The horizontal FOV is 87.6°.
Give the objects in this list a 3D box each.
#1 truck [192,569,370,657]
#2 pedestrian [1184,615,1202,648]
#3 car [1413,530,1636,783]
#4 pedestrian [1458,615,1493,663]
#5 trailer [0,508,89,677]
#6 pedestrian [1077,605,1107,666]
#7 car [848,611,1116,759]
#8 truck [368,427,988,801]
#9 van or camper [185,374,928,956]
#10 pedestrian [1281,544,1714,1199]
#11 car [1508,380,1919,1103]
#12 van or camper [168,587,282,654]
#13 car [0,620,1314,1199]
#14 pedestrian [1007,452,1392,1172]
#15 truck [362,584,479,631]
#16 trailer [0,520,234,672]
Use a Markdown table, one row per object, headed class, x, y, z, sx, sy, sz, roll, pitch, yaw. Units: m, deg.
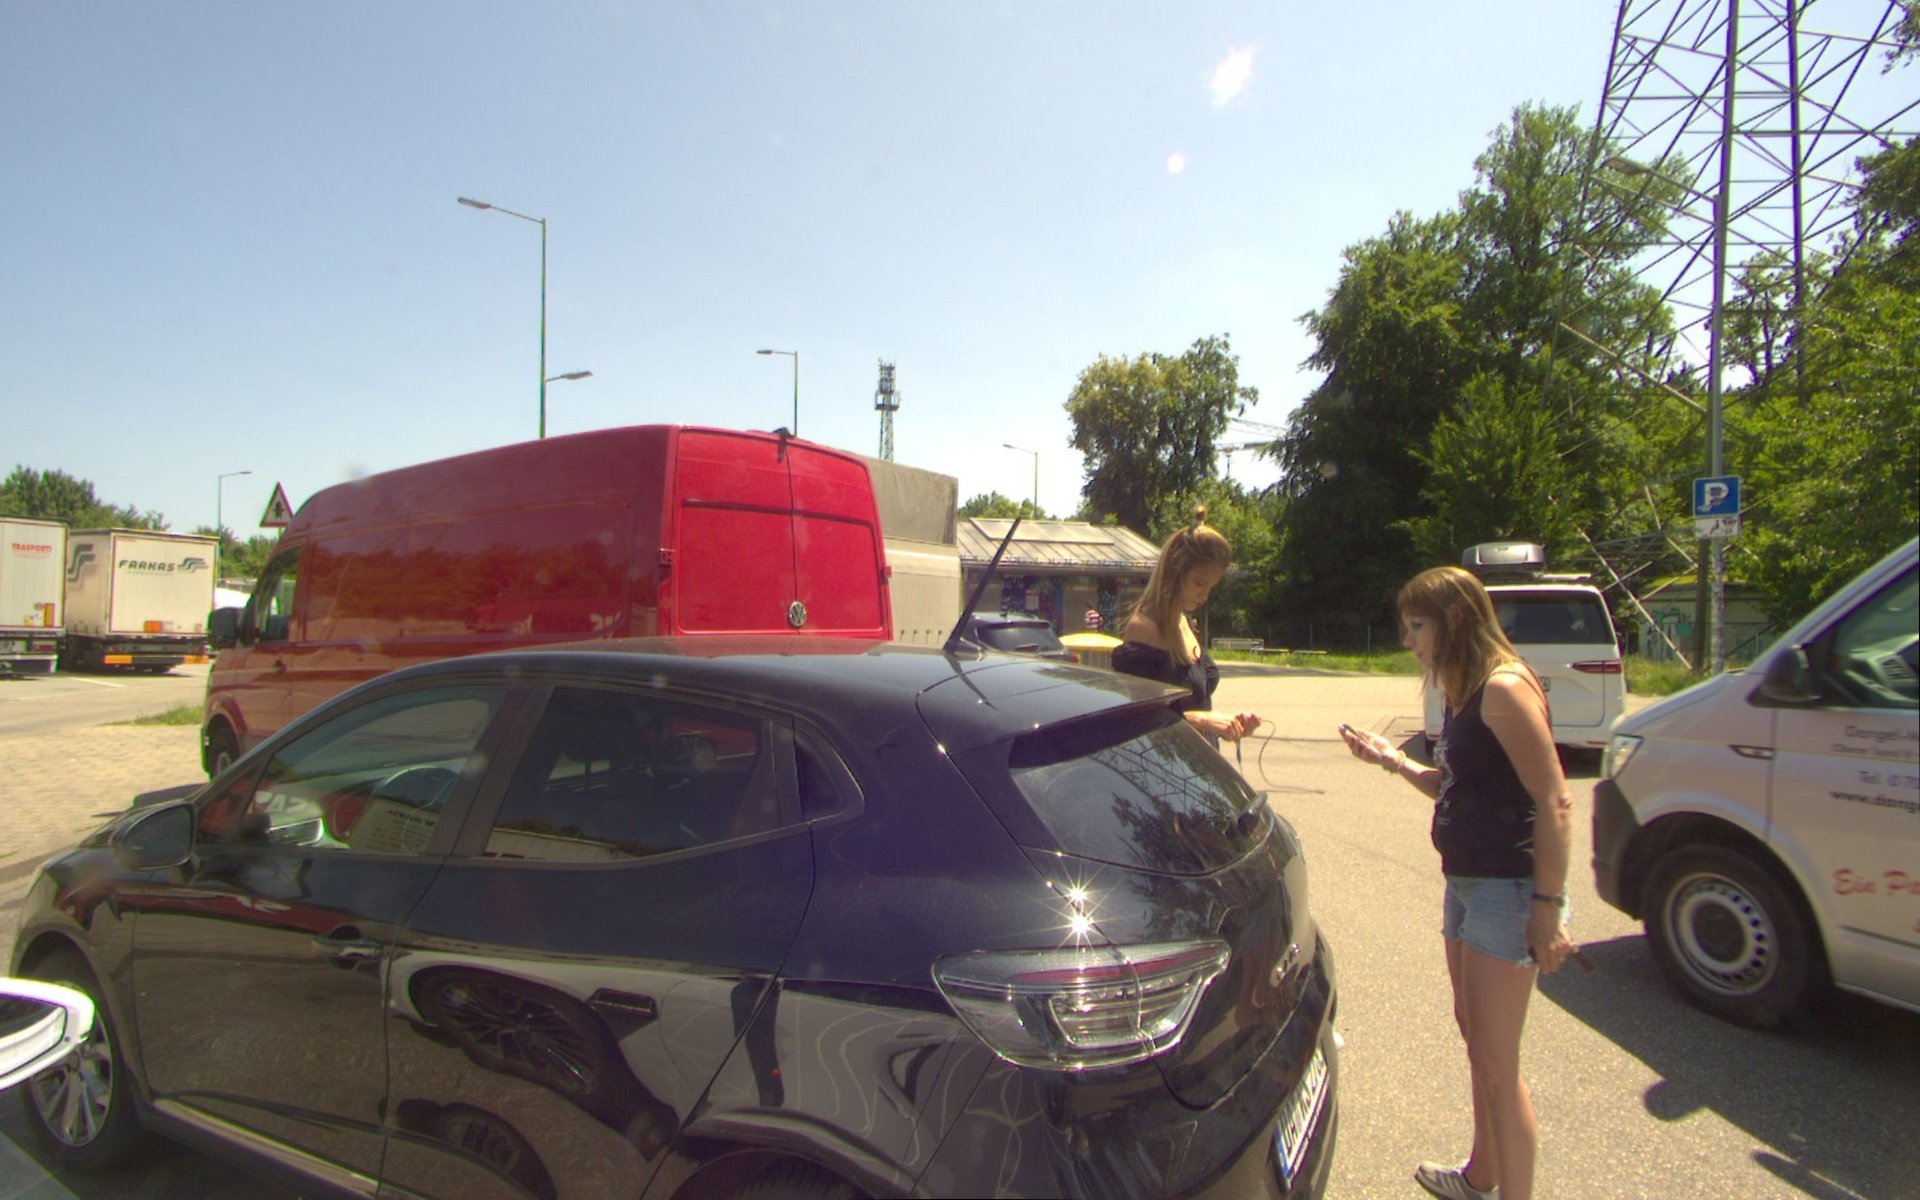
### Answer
| class | x | y | z | sx | sy | sz | roll | pitch | yaw |
| --- | --- | --- | --- | --- | --- | --- | --- | --- | --- |
| truck | -31.691 | 0.513 | 46.465 | 11.255 | 3.615 | 2.484 | 2 | -1 | 33 |
| pedestrian | 10.722 | 1.448 | 46.064 | 0.577 | 1.536 | 0.592 | 1 | 0 | -10 |
| car | 6.542 | 0.572 | 11.549 | 1.892 | 2.354 | 4.074 | -1 | -1 | 32 |
| pedestrian | 15.246 | 1.161 | 29.633 | 0.695 | 1.392 | 0.607 | 1 | 0 | -3 |
| trailer | -28.353 | -0.325 | 27.788 | 12.255 | 4.090 | 2.862 | 2 | -1 | 33 |
| pedestrian | 3.579 | 0.950 | 27.104 | 0.751 | 1.629 | 0.756 | 1 | 0 | 5 |
| car | 0.112 | 0.980 | 13.334 | 1.823 | 1.644 | 4.030 | 1 | -1 | -29 |
| truck | -3.258 | 0.137 | 10.548 | 6.874 | 2.828 | 2.460 | 0 | -1 | 35 |
| van or camper | -3.363 | 0.328 | 7.342 | 6.394 | 2.688 | 1.990 | 0 | -1 | 36 |
| pedestrian | 1.259 | 0.703 | 2.425 | 0.638 | 1.606 | 0.653 | 1 | 0 | -20 |
| car | 4.075 | 0.424 | 2.248 | 1.963 | 2.178 | 5.308 | 1 | -1 | -13 |
| van or camper | -30.410 | 0.826 | 41.374 | 5.296 | 2.595 | 2.100 | 0 | -1 | 34 |
| car | -1.057 | 0.838 | 2.835 | 3.706 | 1.503 | 1.615 | 0 | -1 | 27 |
| pedestrian | 0.689 | 0.573 | 3.110 | 0.900 | 1.896 | 0.773 | 1 | 0 | -12 |
| truck | -34.721 | 0.475 | 64.267 | 9.637 | 2.857 | 2.121 | 0 | -1 | 33 |
| trailer | -27.292 | -0.194 | 31.453 | 12.255 | 4.090 | 2.862 | 2 | -1 | 33 |
